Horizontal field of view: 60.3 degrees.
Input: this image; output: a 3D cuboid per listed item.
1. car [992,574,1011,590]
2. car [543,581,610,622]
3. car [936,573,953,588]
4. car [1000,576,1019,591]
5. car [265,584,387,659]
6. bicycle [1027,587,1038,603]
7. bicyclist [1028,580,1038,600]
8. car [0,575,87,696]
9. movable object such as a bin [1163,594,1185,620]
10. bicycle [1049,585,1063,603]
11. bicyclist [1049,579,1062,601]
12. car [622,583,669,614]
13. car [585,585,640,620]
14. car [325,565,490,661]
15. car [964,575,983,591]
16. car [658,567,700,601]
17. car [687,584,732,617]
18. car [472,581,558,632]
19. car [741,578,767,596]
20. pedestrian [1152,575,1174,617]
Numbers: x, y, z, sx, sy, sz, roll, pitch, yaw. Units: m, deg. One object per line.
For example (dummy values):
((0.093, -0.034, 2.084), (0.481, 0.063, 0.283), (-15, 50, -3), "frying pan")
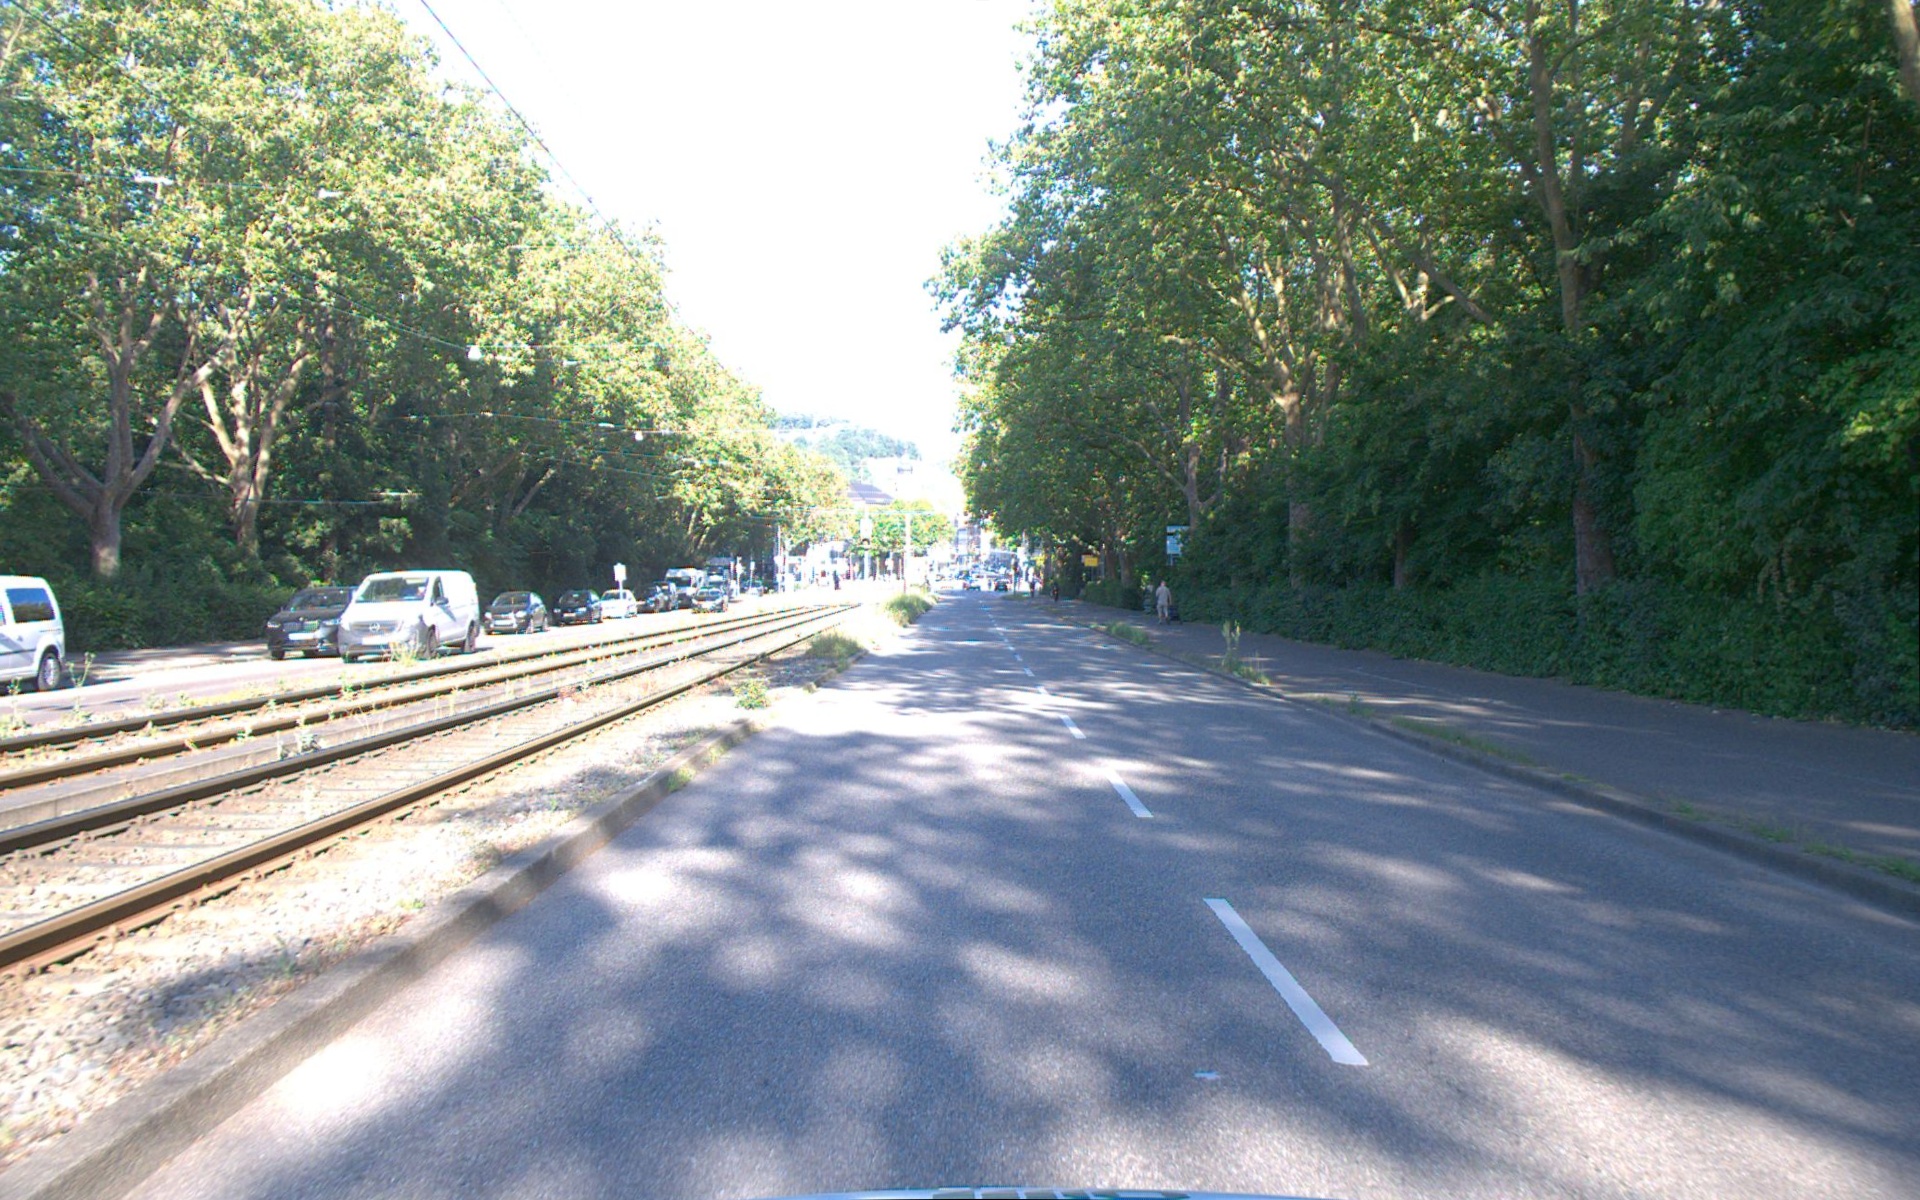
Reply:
((5.427, -2.329, 215.193), (2.345, 2.034, 5.305), (0, 0, 0), "car")
((-16.833, 0.060, 72.775), (1.953, 1.726, 4.743), (0, 0, -2), "car")
((-2.122, -2.633, 229.340), (2.345, 2.034, 5.305), (0, 0, 0), "car")
((6.732, -2.264, 224.459), (2.345, 2.034, 5.305), (0, 0, 0), "car")
((-15.281, 0.476, 40.045), (1.708, 1.665, 3.996), (-1, 1, -5), "car")
((6.510, -0.459, 147.899), (0.869, 1.344, 2.639), (0, 0, 0), "bicycle")
((6.513, -0.908, 147.937), (0.869, 1.805, 1.222), (0, 0, 0), "bicyclist")
((-15.126, 0.578, 24.852), (1.707, 1.773, 4.511), (-3, 1, -3), "car")
((8.091, 0.247, 62.528), (0.787, 0.964, 0.656), (0, 0, 3), "movable object such as a bin")
((7.134, -0.474, 123.394), (0.869, 1.344, 2.639), (0, 0, 0), "bicycle")
((7.130, -0.745, 123.490), (0.869, 1.667, 1.164), (0, 0, 0), "bicyclist")
((-18.187, -0.094, 95.696), (1.953, 1.726, 4.743), (0, 0, -2), "car")
((-17.690, 0.108, 84.343), (1.953, 1.726, 4.743), (0, 0, -2), "car")
((-12.069, 0.240, 36.520), (1.953, 1.876, 5.300), (-3, 1, -2), "car")
((1.788, -2.243, 219.751), (2.345, 2.034, 5.305), (0, 0, 0), "car")
((-18.667, -1.040, 110.086), (1.953, 2.201, 5.812), (0, 0, -2), "car")
((-13.927, 0.005, 92.130), (1.953, 1.726, 4.743), (0, 0, -2), "car")
((-16.049, 0.203, 59.854), (1.953, 1.726, 4.743), (0, 0, -2), "car")
((-19.573, -1.250, 157.245), (1.953, 1.726, 4.743), (0, 0, -2), "car")
((7.766, -0.148, 63.340), (0.787, 1.573, 0.814), (0, 0, 3), "pedestrian")
